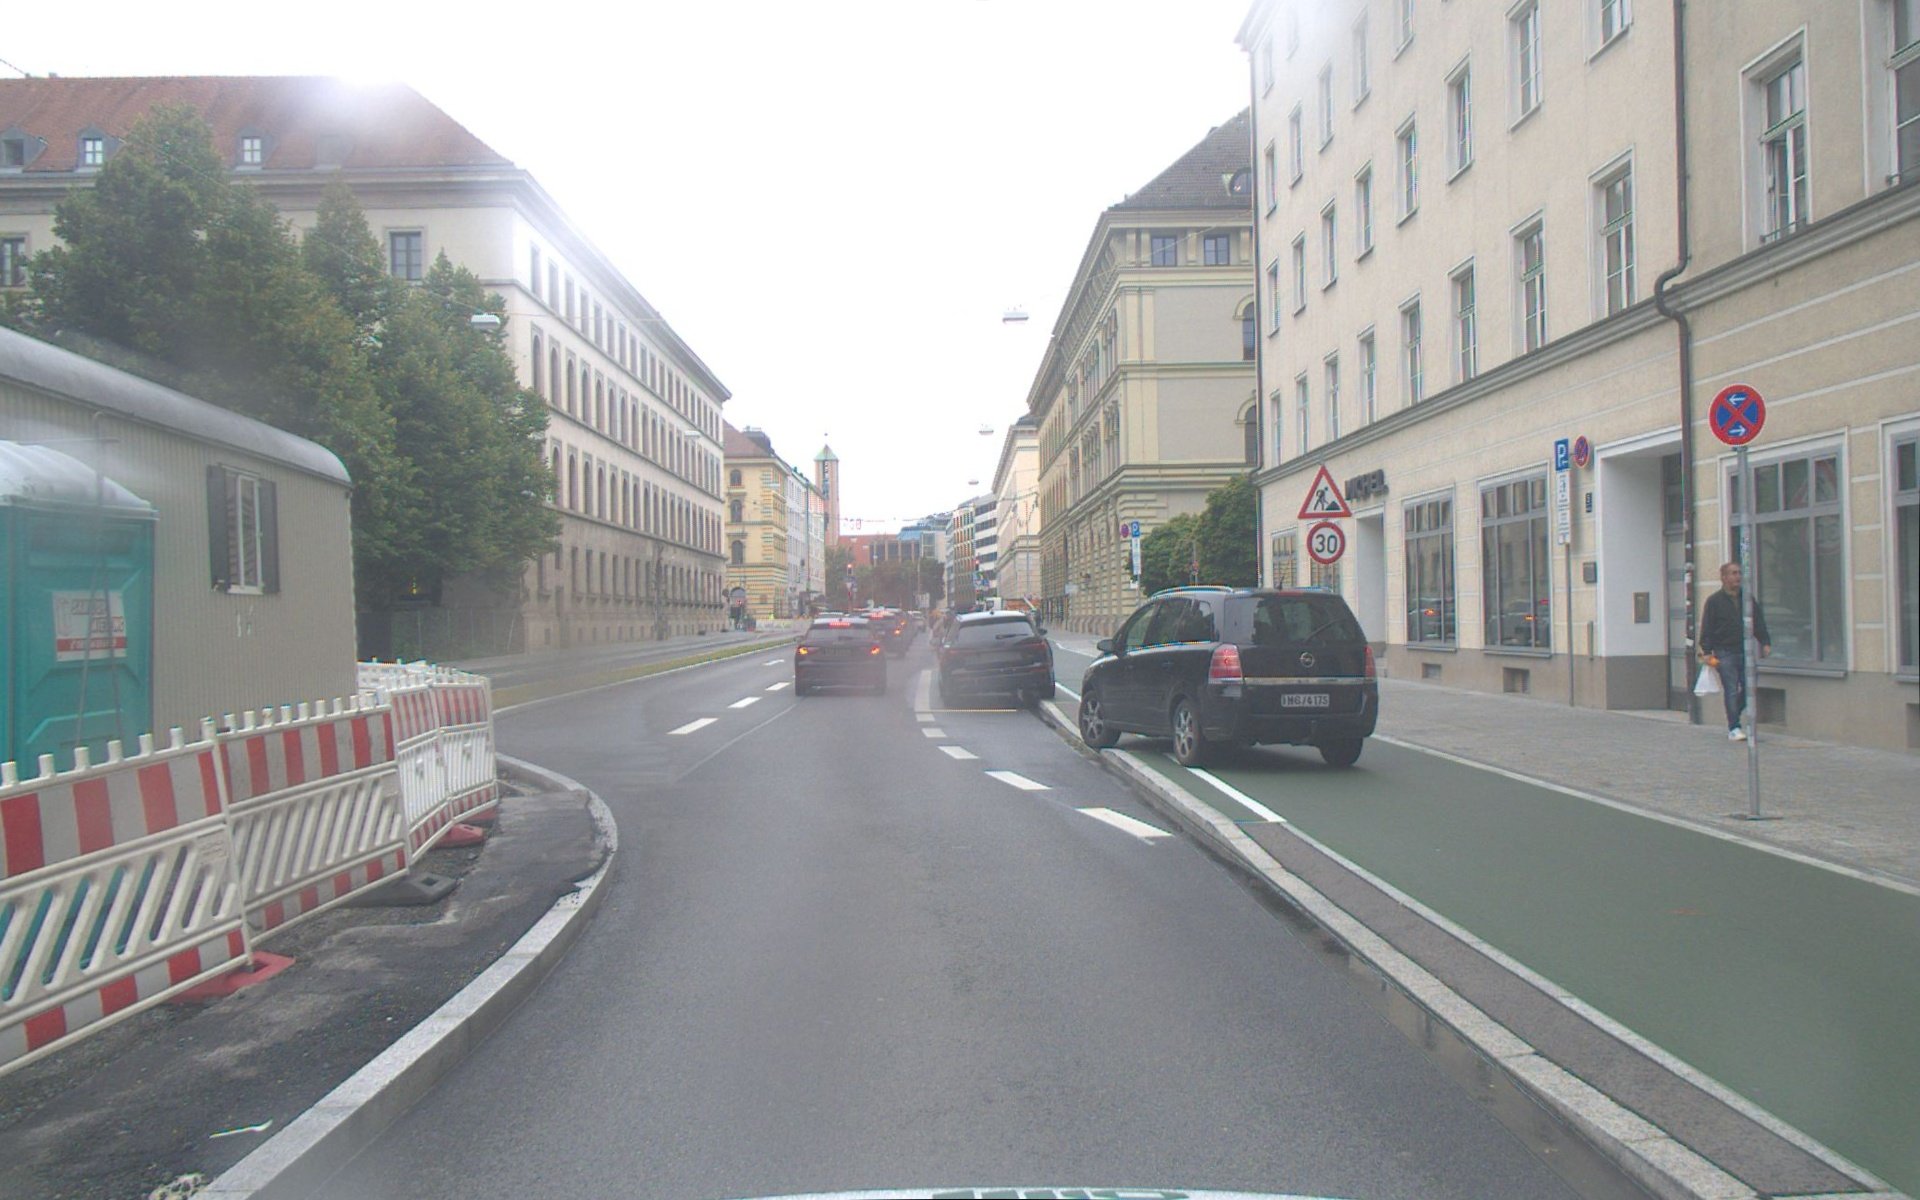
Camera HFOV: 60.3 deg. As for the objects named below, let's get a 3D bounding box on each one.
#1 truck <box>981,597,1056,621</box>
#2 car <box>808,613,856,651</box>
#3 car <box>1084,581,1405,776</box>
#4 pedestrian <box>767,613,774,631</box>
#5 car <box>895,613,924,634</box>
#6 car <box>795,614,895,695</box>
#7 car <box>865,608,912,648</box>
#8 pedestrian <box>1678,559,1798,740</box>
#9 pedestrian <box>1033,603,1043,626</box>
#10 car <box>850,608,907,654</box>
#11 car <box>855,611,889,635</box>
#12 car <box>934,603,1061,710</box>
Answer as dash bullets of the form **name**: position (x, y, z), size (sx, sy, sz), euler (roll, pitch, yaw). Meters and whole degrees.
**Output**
- **truck**: position (5.724, 0.882, 161.539), size (7.233, 2.292, 2.180), euler (0, -1, 1)
- **car**: position (-6.014, 1.489, 77.961), size (1.953, 1.656, 3.999), euler (-1, 0, 0)
- **car**: position (2.607, 0.671, 16.165), size (1.734, 1.644, 4.017), euler (0, 0, -12)
- **pedestrian**: position (-19.254, 2.205, 168.024), size (0.642, 1.836, 0.727), euler (-1, -1, -1)
- **car**: position (-3.580, 1.665, 118.186), size (1.953, 1.469, 3.999), euler (-1, 0, 0)
- **car**: position (-2.162, 1.004, 31.913), size (1.695, 1.427, 3.999), euler (0, 0, -1)
- **car**: position (-2.724, 1.050, 63.811), size (1.695, 1.486, 3.999), euler (0, 0, -1)
- **pedestrian**: position (7.897, 0.494, 16.816), size (0.777, 1.776, 0.833), euler (-1, 0, -1)
- **pedestrian**: position (5.799, 1.066, 123.215), size (0.695, 1.646, 0.754), euler (-1, -1, -1)
- **car**: position (-2.593, 0.976, 53.454), size (1.695, 1.427, 3.999), euler (0, 0, -1)
- **car**: position (-5.687, 1.453, 107.354), size (1.953, 1.469, 3.999), euler (-1, 0, 0)
- **car**: position (0.549, 0.890, 28.093), size (1.773, 1.506, 4.460), euler (-5, 0, -2)
